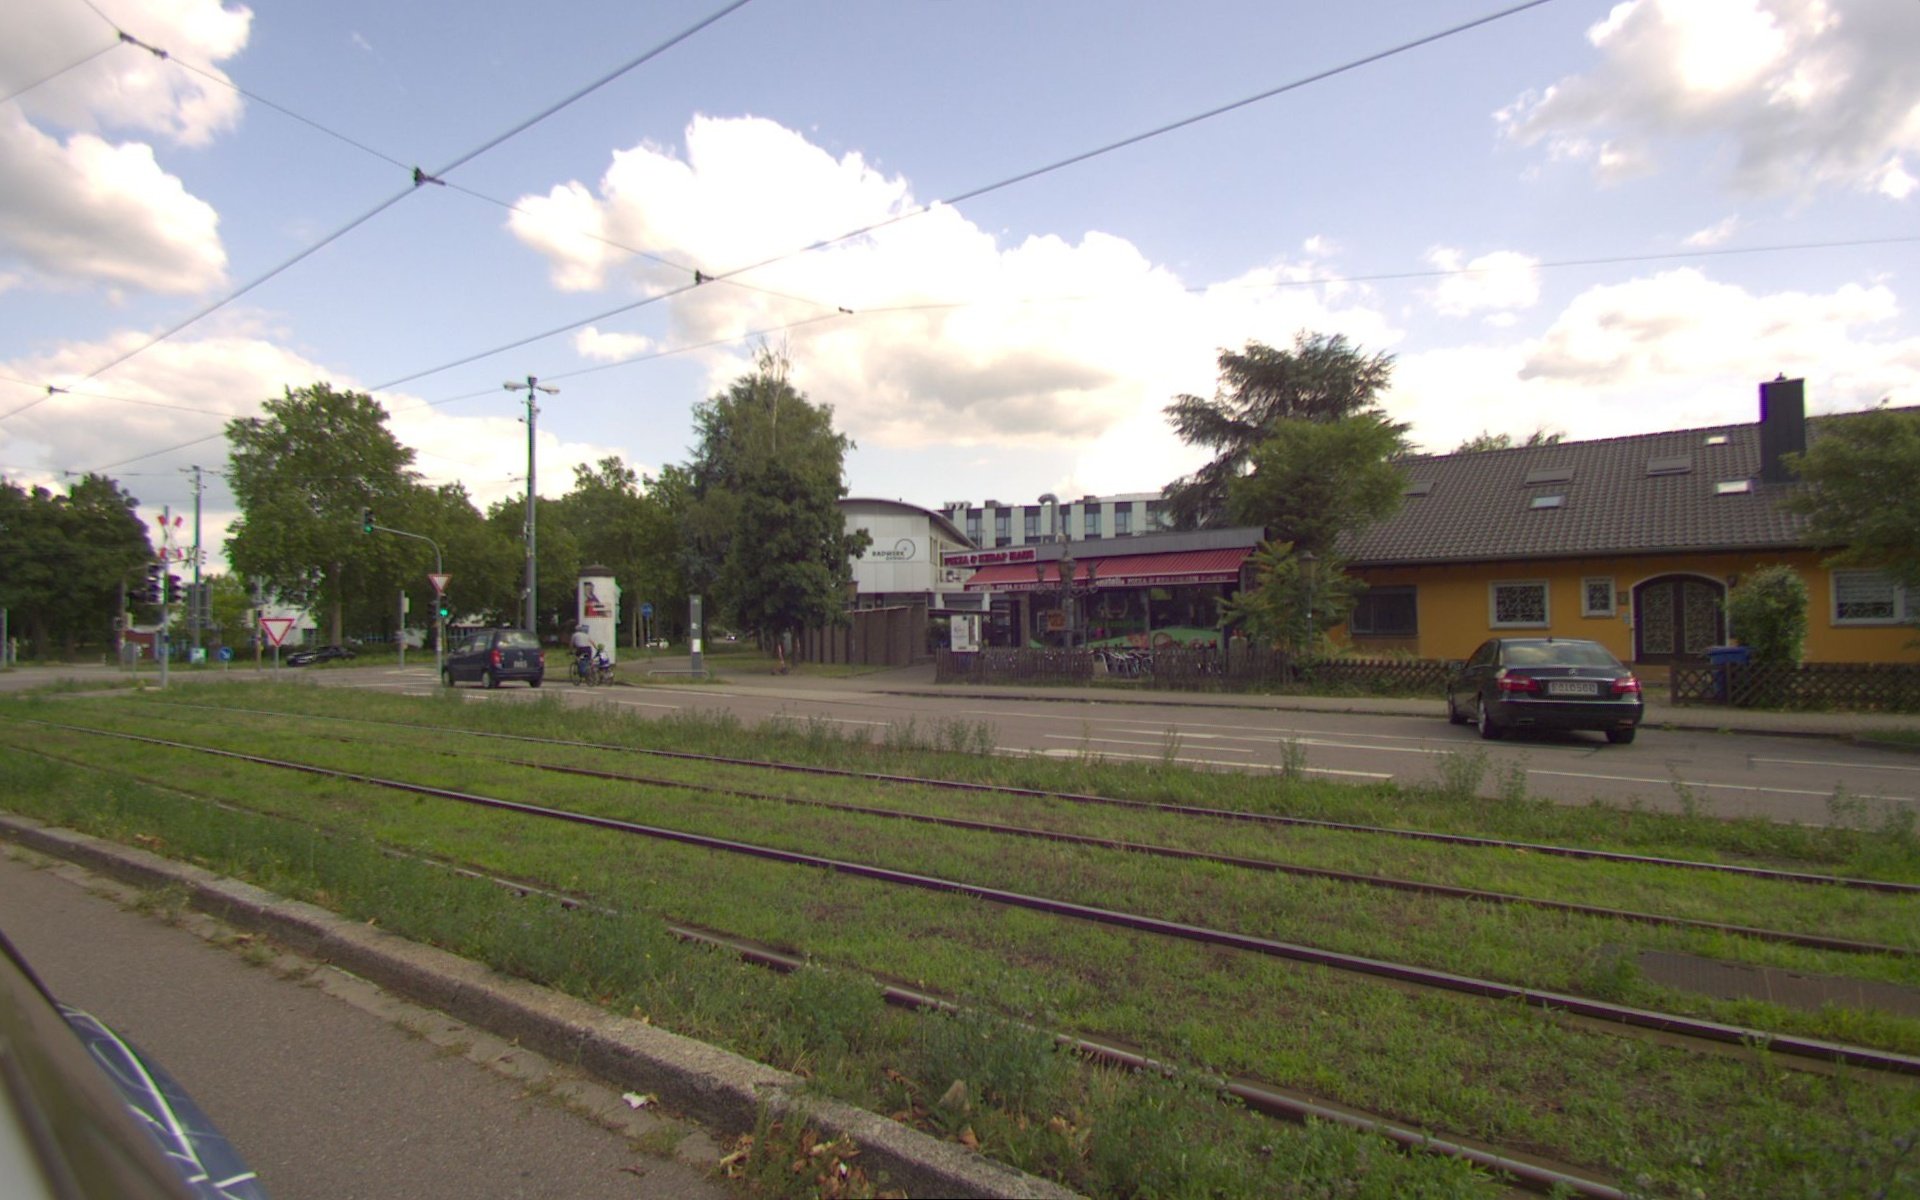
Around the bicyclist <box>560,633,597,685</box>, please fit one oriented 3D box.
[{"bbox_3d":[-11.041,1.701,29.298,0.928,1.469,0.616,-2,-3,41],"label":"bicyclist"}]

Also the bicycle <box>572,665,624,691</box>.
[{"bbox_3d":[-10.680,2.288,29.839,1.804,0.723,0.639,-2,-3,41],"label":"bicycle"}]

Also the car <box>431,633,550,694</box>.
[{"bbox_3d":[-13.568,1.780,29.198,3.492,1.639,1.761,-2,-2,39],"label":"car"}]

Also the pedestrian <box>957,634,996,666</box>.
[{"bbox_3d":[0.599,1.820,37.138,0.931,1.155,1.141,-3,-3,39],"label":"pedestrian"}]

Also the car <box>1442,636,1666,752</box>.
[{"bbox_3d":[8.568,1.255,15.065,1.868,1.418,4.623,0,-2,18],"label":"car"}]

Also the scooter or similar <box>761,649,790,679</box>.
[{"bbox_3d":[-6.521,2.255,35.705,0.421,1.041,1.224,1,-3,-42],"label":"scooter or similar"}]

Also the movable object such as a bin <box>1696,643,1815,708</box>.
[{"bbox_3d":[14.370,1.343,18.349,1.615,1.109,1.243,-2,-3,37],"label":"movable object such as a bin"}]

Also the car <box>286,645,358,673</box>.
[{"bbox_3d":[-38.539,3.539,61.194,1.678,1.535,3.850,-1,-2,6],"label":"car"}]

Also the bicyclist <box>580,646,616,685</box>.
[{"bbox_3d":[-10.673,1.921,29.826,0.928,1.121,0.632,-2,-3,41],"label":"bicyclist"}]

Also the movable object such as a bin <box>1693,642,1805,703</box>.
[{"bbox_3d":[15.191,1.381,19.549,1.615,1.101,1.243,-2,-3,37],"label":"movable object such as a bin"}]

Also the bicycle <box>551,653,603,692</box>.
[{"bbox_3d":[-11.107,2.078,29.350,1.804,1.088,0.639,-2,-3,41],"label":"bicycle"}]
